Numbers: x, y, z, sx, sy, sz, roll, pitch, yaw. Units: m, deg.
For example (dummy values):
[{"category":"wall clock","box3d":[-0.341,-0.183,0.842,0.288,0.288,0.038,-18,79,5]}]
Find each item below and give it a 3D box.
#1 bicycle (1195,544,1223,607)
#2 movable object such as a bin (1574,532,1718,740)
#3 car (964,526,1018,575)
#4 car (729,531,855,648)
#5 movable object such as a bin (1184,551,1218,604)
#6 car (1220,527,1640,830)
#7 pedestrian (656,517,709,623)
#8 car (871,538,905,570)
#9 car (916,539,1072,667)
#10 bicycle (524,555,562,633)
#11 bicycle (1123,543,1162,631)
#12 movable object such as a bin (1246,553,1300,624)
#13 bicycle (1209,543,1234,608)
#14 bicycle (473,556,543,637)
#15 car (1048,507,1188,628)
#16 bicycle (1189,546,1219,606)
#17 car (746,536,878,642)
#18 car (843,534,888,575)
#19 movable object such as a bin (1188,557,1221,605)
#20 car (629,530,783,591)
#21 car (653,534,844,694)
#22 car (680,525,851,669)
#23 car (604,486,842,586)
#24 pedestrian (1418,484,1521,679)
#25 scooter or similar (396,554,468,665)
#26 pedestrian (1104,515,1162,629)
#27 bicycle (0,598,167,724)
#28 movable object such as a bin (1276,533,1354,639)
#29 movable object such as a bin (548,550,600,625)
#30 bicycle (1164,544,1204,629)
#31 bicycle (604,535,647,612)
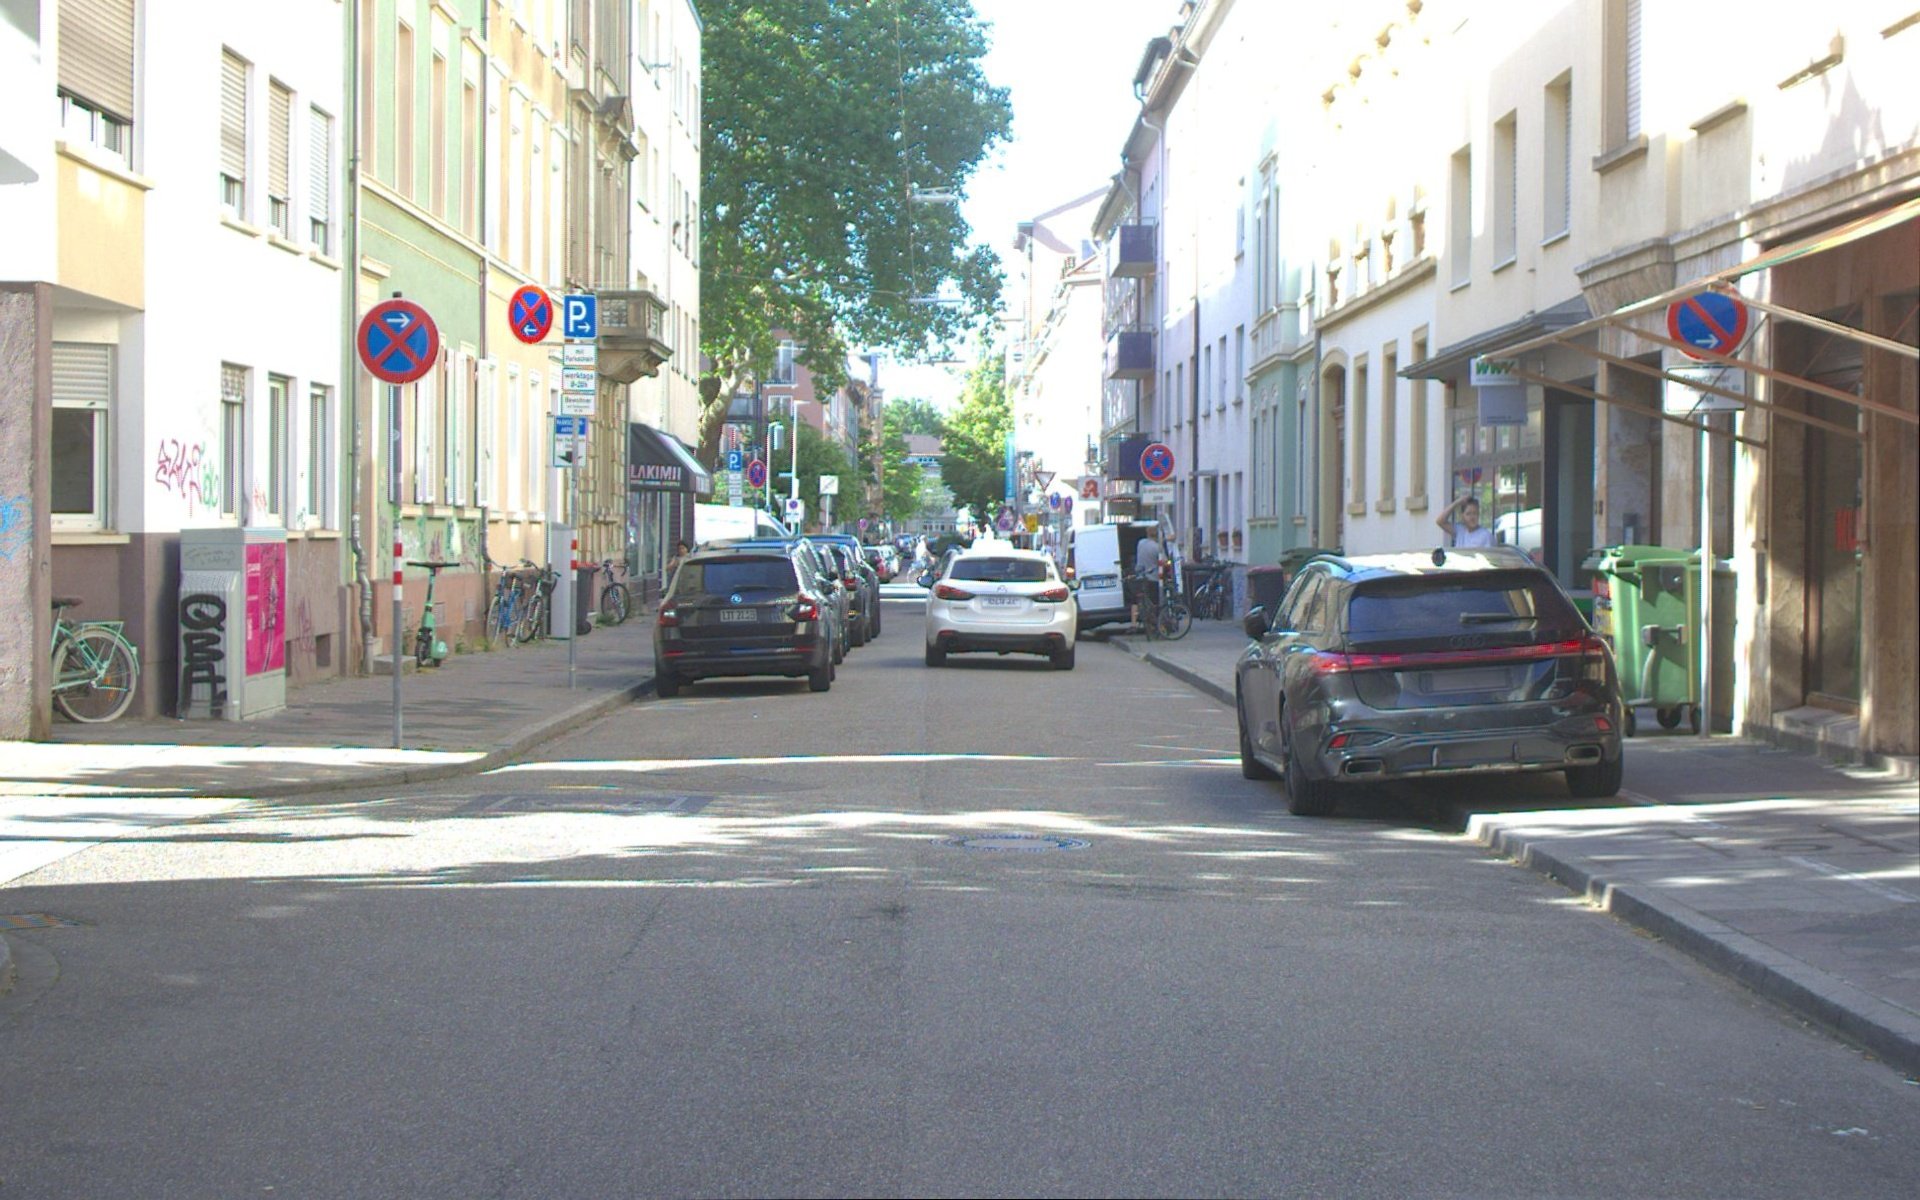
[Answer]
[{"category":"bicycle","box3d":[4.795,-0.470,66.114,0.438,1.202,2.265,0,0,7]},{"category":"movable object such as a bin","box3d":[4.951,0.242,24.875,0.746,1.431,1.372,-2,1,2]},{"category":"car","box3d":[1.267,-2.043,141.786,1.942,1.941,4.079,1,1,-3]},{"category":"car","box3d":[-2.283,-0.181,47.471,1.615,1.548,3.978,0,1,-1]},{"category":"movable object such as a bin","box3d":[4.844,-0.456,69.081,0.616,1.058,0.603,-1,1,0]},{"category":"car","box3d":[2.675,0.376,20.673,1.801,1.573,4.897,1,1,0]},{"category":"pedestrian","box3d":[-4.572,-0.494,56.658,0.764,1.708,0.883,2,1,-1]},{"category":"car","box3d":[-3.576,-2.279,170.804,1.572,1.580,3.611,0,0,0]},{"category":"car","box3d":[0.375,0.008,42.638,1.823,1.509,3.824,0,1,-1]},{"category":"bicycle","box3d":[-5.794,-0.089,47.838,0.402,1.052,1.837,0,0,-3]},{"category":"bicycle","box3d":[2.822,-0.219,53.110,0.575,1.316,2.199,-1,1,3]},{"category":"movable object such as a bin","box3d":[4.845,-0.172,53.280,0.797,1.092,0.642,0,0,2]},{"category":"bicycle","box3d":[4.923,-0.460,64.778,0.405,1.202,2.159,0,0,3]},{"category":"bicycle","box3d":[-5.835,-0.049,44.489,0.361,1.025,1.916,0,0,9]},{"category":"car","box3d":[2.656,-0.589,59.068,1.983,1.877,5.600,-3,1,0]},{"category":"bicycle","box3d":[4.777,-0.468,67.204,0.569,1.149,1.868,0,0,4]},{"category":"car","box3d":[-2.205,-0.201,52.239,1.713,1.526,4.367,-1,1,1]},{"category":"car","box3d":[-3.788,-1.862,138.585,1.769,1.583,3.726,0,2,-1]},{"category":"movable object such as a bin","box3d":[4.872,-0.377,68.473,0.577,0.921,0.607,-2,1,0]},{"category":"car","box3d":[-6.568,-1.015,89.345,3.875,1.499,1.827,1,0,-1]},{"category":"car","box3d":[-2.132,0.099,35.818,1.713,1.483,4.852,-2,1,-1]},{"category":"car","box3d":[-2.302,-0.088,41.676,1.744,1.609,4.603,-1,1,1]},{"category":"car","box3d":[-6.986,-1.883,101.829,6.739,2.546,2.145,3,0,2]},{"category":"pedestrian","box3d":[4.966,-0.189,33.527,0.648,1.853,0.749,-2,2,-22]},{"category":"scooter or similar","box3d":[-5.747,0.096,37.495,0.454,1.177,1.691,0,0,3]},{"category":"pedestrian","box3d":[2.796,-0.453,55.731,0.880,1.830,0.869,0,0,-1]},{"category":"bicycle","box3d":[-6.579,0.434,25.123,0.431,0.879,1.566,3,2,39]},{"category":"movable object such as a bin","box3d":[4.815,-0.179,46.685,0.837,1.385,1.297,-2,-1,-1]},{"category":"movable object such as a bin","box3d":[-5.743,-0.189,51.166,0.735,1.085,0.683,0,2,-4]},{"category":"bicycle","box3d":[3.475,-0.224,53.430,0.575,1.266,2.199,-2,1,4]},{"category":"bicycle","box3d":[-5.614,-0.444,57.781,0.510,1.272,1.867,0,0,1]}]
